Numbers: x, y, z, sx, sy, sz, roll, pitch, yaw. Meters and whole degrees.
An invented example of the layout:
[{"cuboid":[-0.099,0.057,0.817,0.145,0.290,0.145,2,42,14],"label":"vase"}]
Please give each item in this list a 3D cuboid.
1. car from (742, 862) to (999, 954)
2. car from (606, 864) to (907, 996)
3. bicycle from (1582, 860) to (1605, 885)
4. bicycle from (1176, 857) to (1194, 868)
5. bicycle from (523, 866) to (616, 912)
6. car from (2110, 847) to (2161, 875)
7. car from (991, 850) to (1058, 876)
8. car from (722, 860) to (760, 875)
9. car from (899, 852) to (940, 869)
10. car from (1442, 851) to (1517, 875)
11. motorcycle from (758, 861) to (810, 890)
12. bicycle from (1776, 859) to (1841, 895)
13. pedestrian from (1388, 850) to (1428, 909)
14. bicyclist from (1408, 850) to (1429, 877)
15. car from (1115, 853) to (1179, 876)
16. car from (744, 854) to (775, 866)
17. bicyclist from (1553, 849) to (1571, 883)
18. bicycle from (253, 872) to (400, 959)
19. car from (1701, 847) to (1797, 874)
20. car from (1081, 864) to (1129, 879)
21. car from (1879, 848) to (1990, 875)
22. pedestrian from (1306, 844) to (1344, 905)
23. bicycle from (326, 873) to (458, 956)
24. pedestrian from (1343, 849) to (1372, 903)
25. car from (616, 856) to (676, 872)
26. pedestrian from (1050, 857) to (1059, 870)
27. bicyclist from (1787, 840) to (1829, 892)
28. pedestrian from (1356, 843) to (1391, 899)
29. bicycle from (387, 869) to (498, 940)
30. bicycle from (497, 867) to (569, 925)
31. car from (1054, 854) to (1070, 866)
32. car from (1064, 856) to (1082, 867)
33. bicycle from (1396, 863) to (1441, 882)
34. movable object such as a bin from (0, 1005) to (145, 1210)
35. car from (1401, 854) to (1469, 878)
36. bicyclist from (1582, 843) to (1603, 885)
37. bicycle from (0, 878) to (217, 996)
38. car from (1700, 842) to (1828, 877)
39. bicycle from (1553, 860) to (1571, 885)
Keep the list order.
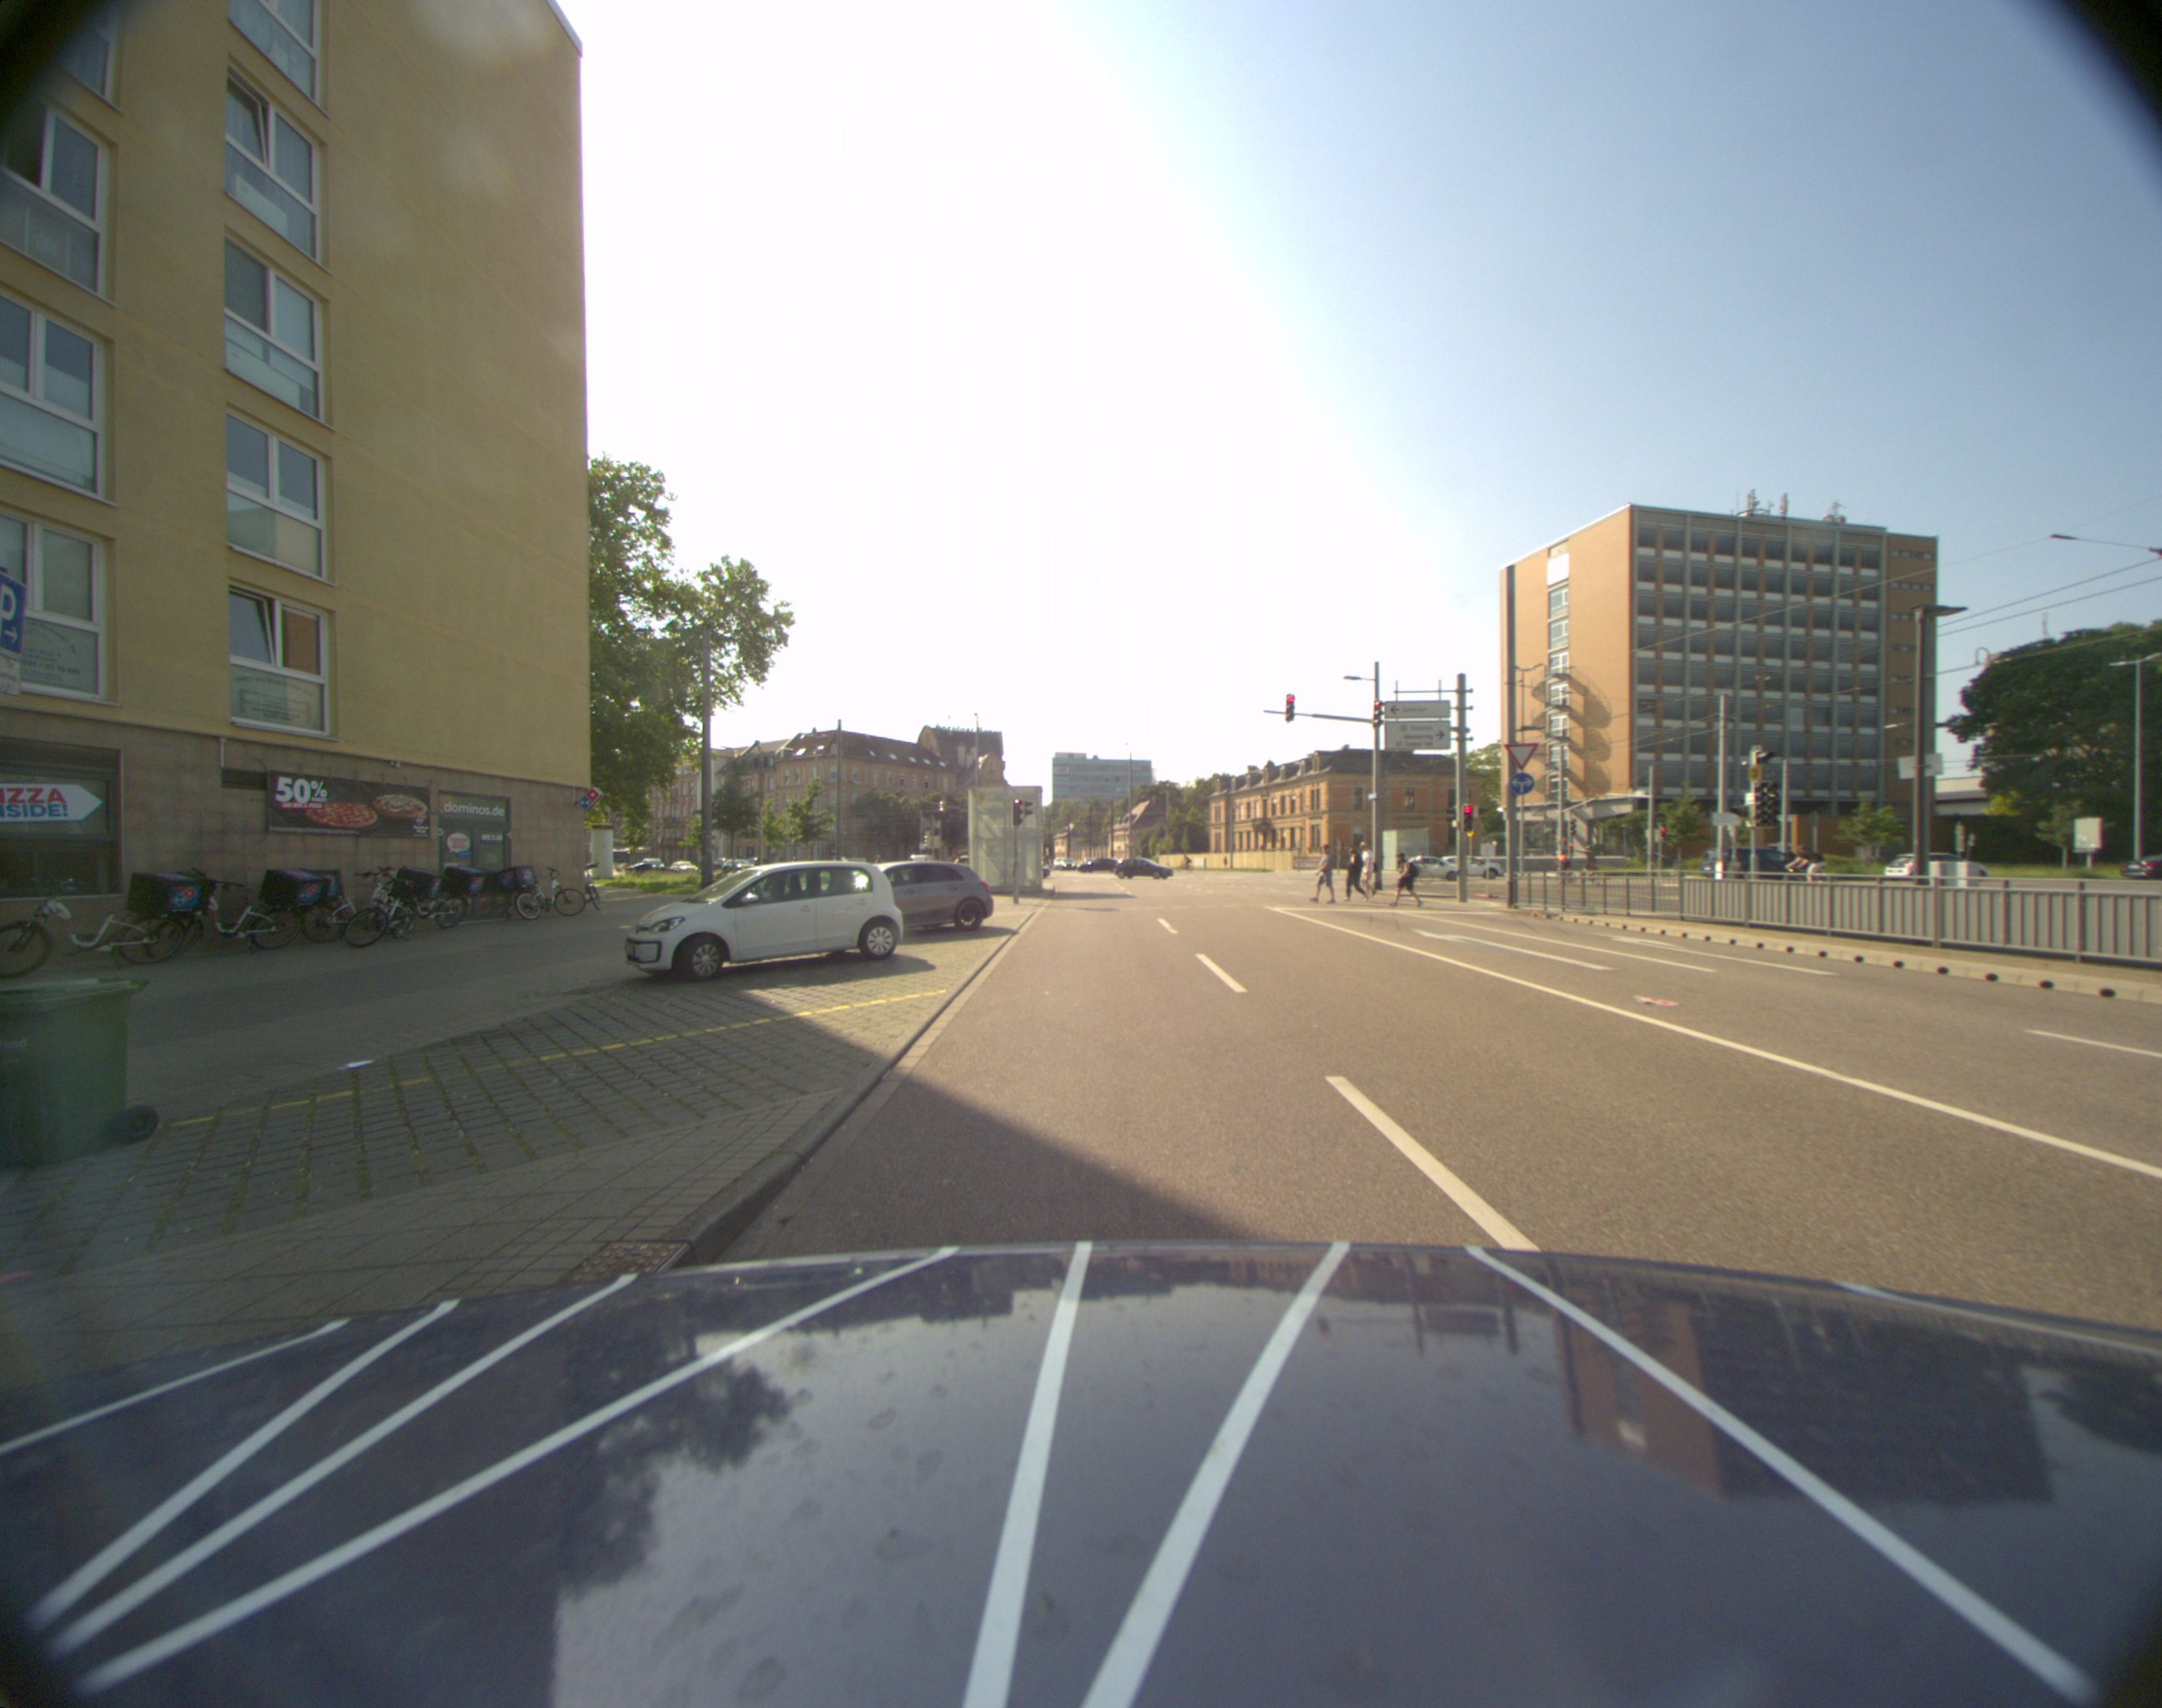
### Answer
[{"cuboid":[-3.945,0.920,14.712,4.418,1.415,1.842,-1,1,-41],"label":"car"},{"cuboid":[-4.455,0.910,10.685,3.535,1.455,1.618,-1,1,-41],"label":"car"},{"cuboid":[24.666,0.881,36.601,0.376,1.158,1.861,0,0,16],"label":"bicycle"},{"cuboid":[10.836,0.900,79.055,1.768,1.187,0.402,0,1,23],"label":"bicycle"},{"cuboid":[-13.657,0.937,20.322,2.021,1.199,0.671,0,0,1],"label":"bicycle"},{"cuboid":[56.330,0.339,38.741,4.340,1.443,1.806,0,0,20],"label":"car"},{"cuboid":[-4.200,0.646,56.532,4.564,1.841,2.003,0,1,23],"label":"car"},{"cuboid":[-34.017,1.367,75.983,3.621,1.433,1.807,0,0,32],"label":"car"},{"cuboid":[-18.040,0.757,84.921,4.278,1.875,1.799,-1,-2,29],"label":"car"},{"cuboid":[25.034,0.556,47.862,3.990,1.407,1.806,0,0,22],"label":"car"},{"cuboid":[-12.317,0.883,31.600,0.704,1.140,2.304,0,0,17],"label":"motorcycle"},{"cuboid":[23.578,0.738,24.661,0.402,1.103,1.746,0,0,0],"label":"bicycle"},{"cuboid":[8.924,0.685,20.746,0.809,1.539,0.548,2,1,2],"label":"pedestrian"},{"cuboid":[18.341,0.508,41.286,0.969,1.467,1.089,0,1,26],"label":"bicyclist"},{"cuboid":[4.566,0.711,52.577,3.990,1.586,2.003,0,0,24],"label":"car"},{"cuboid":[-42.196,0.807,99.788,3.965,1.572,1.748,0,-1,32],"label":"car"},{"cuboid":[23.231,0.561,36.710,0.511,1.620,0.808,0,0,15],"label":"bicyclist"},{"cuboid":[-12.273,0.949,12.459,0.604,1.254,1.996,0,0,-7],"label":"bicycle"},{"cuboid":[43.704,0.431,49.801,4.281,1.696,1.955,0,-2,17],"label":"car"},{"cuboid":[2.352,1.673,74.003,4.315,1.456,1.677,0,-2,20],"label":"car"},{"cuboid":[46.057,0.381,41.085,3.548,1.427,1.806,0,0,21],"label":"car"},{"cuboid":[6.992,0.577,21.826,0.816,1.683,0.651,2,1,1],"label":"pedestrian"},{"cuboid":[-11.624,0.970,12.919,0.604,1.254,1.996,0,0,-7],"label":"bicycle"},{"cuboid":[8.310,0.655,22.824,0.634,1.588,0.468,2,1,-1],"label":"pedestrian"},{"cuboid":[-39.669,0.892,69.346,1.994,1.362,4.407,0,0,43],"label":"car"},{"cuboid":[-3.206,1.146,92.500,0.791,1.677,0.662,0,1,28],"label":"pedestrian"},{"cuboid":[23.572,0.391,24.654,0.588,1.647,0.790,0,1,1],"label":"bicyclist"},{"cuboid":[9.495,0.541,24.698,0.834,1.778,0.729,2,1,8],"label":"pedestrian"},{"cuboid":[-12.414,0.945,14.852,0.604,1.254,1.849,0,0,0],"label":"bicycle"},{"cuboid":[-12.680,0.954,17.643,0.470,1.254,1.636,0,0,0],"label":"bicycle"},{"cuboid":[-2.673,0.879,107.351,1.927,1.626,3.997,0,0,-7],"label":"car"},{"cuboid":[-1.061,0.918,97.014,1.927,1.368,3.997,0,0,-7],"label":"car"},{"cuboid":[18.349,0.987,41.330,2.192,0.983,0.530,1,2,25],"label":"bicycle"},{"cuboid":[-5.530,1.303,4.015,0.491,0.898,0.537,0,1,3],"label":"movable object such as a bin"},{"cuboid":[21.286,0.688,45.825,3.607,1.407,1.806,0,0,21],"label":"car"},{"cuboid":[24.531,0.471,36.445,0.580,1.963,0.808,0,0,15],"label":"bicyclist"},{"cuboid":[-12.246,0.959,9.488,0.604,1.254,1.997,0,0,1],"label":"bicycle"},{"cuboid":[36.424,0.294,40.703,4.761,1.817,1.806,0,0,24],"label":"car"},{"cuboid":[23.268,0.894,36.755,0.311,1.158,1.501,0,0,16],"label":"bicycle"}]
